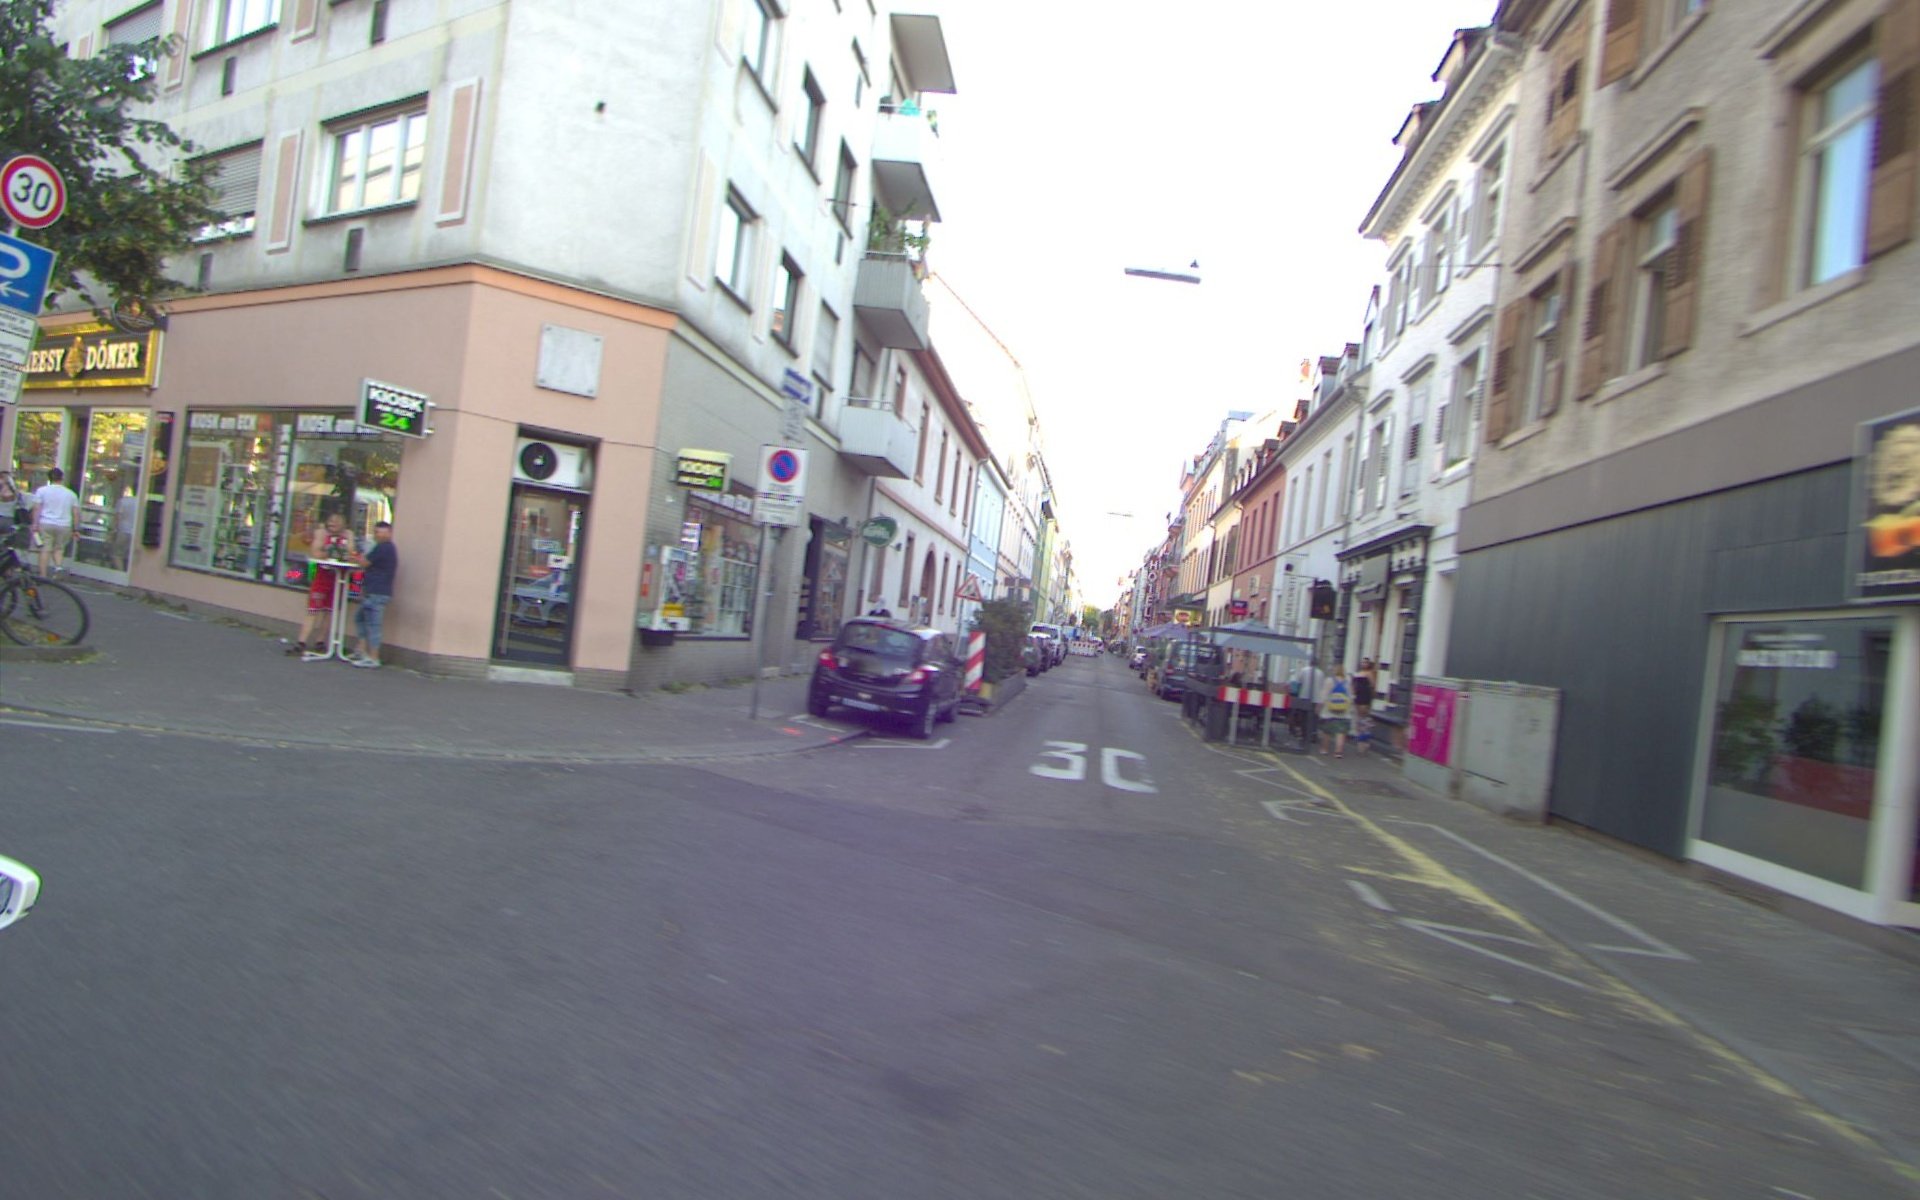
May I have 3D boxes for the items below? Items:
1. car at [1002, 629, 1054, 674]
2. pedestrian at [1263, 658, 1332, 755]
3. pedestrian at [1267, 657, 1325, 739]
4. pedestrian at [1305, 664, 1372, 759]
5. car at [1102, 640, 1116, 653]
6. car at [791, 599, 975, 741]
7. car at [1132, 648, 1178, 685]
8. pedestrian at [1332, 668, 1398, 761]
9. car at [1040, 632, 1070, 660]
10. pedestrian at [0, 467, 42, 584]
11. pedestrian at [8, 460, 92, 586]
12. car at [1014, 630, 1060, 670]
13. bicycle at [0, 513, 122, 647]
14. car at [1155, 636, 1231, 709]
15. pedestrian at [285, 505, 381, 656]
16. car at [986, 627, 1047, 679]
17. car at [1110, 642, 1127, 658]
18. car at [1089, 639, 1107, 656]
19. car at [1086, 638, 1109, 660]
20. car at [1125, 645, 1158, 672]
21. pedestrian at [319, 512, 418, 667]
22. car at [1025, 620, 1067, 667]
[{"bbox_3d":[2.902,2.161,42.507,1.755,1.506,3.679,9,-1,8],"label":"car"},{"bbox_3d":[6.080,1.911,18.121,0.827,1.591,0.798,7,0,34],"label":"pedestrian"},{"bbox_3d":[7.319,2.133,21.897,0.827,1.657,0.798,7,0,34],"label":"pedestrian"},{"bbox_3d":[6.967,2.043,18.507,0.827,1.591,0.798,7,0,34],"label":"pedestrian"},{"bbox_3d":[22.317,6.919,150.647,1.755,1.666,3.679,9,-1,8],"label":"car"},{"bbox_3d":[-0.961,0.963,14.601,1.755,1.506,3.679,9,-1,8],"label":"car"},{"bbox_3d":[9.304,3.161,48.183,1.755,1.455,4.051,7,-1,8],"label":"car"},{"bbox_3d":[7.637,2.149,18.959,0.827,1.591,0.798,7,0,34],"label":"pedestrian"},{"bbox_3d":[6.839,3.287,71.890,1.755,1.666,3.679,9,-1,8],"label":"car"},{"bbox_3d":[-14.713,-1.166,15.463,0.879,1.700,0.630,7,0,40],"label":"pedestrian"},{"bbox_3d":[-14.139,-1.202,15.631,0.879,1.826,0.697,7,0,40],"label":"pedestrian"},{"bbox_3d":[3.635,2.316,47.093,1.755,1.506,3.679,9,-1,8],"label":"car"},{"bbox_3d":[-8.835,-0.257,8.931,1.938,1.086,0.701,8,-1,-27],"label":"bicycle"},{"bbox_3d":[7.398,2.266,32.328,1.755,1.988,4.051,7,-1,8],"label":"car"},{"bbox_3d":[-7.173,-0.211,11.505,0.652,1.620,0.567,9,2,32],"label":"pedestrian"},{"bbox_3d":[2.103,1.895,36.428,1.755,1.506,3.679,9,-1,8],"label":"car"},{"bbox_3d":[19.482,6.173,123.834,1.755,1.666,3.679,9,-1,8],"label":"car"},{"bbox_3d":[15.827,5.448,115.177,1.755,1.666,3.679,9,-1,8],"label":"car"},{"bbox_3d":[12.134,4.349,89.101,1.755,1.666,3.679,9,-1,8],"label":"car"},{"bbox_3d":[11.741,3.752,65.318,1.755,1.455,4.051,7,-1,8],"label":"car"},{"bbox_3d":[-6.536,-0.106,11.119,0.652,1.604,0.567,9,2,32],"label":"pedestrian"},{"bbox_3d":[4.501,2.248,52.313,1.755,2.079,3.679,9,-1,8],"label":"car"}]
